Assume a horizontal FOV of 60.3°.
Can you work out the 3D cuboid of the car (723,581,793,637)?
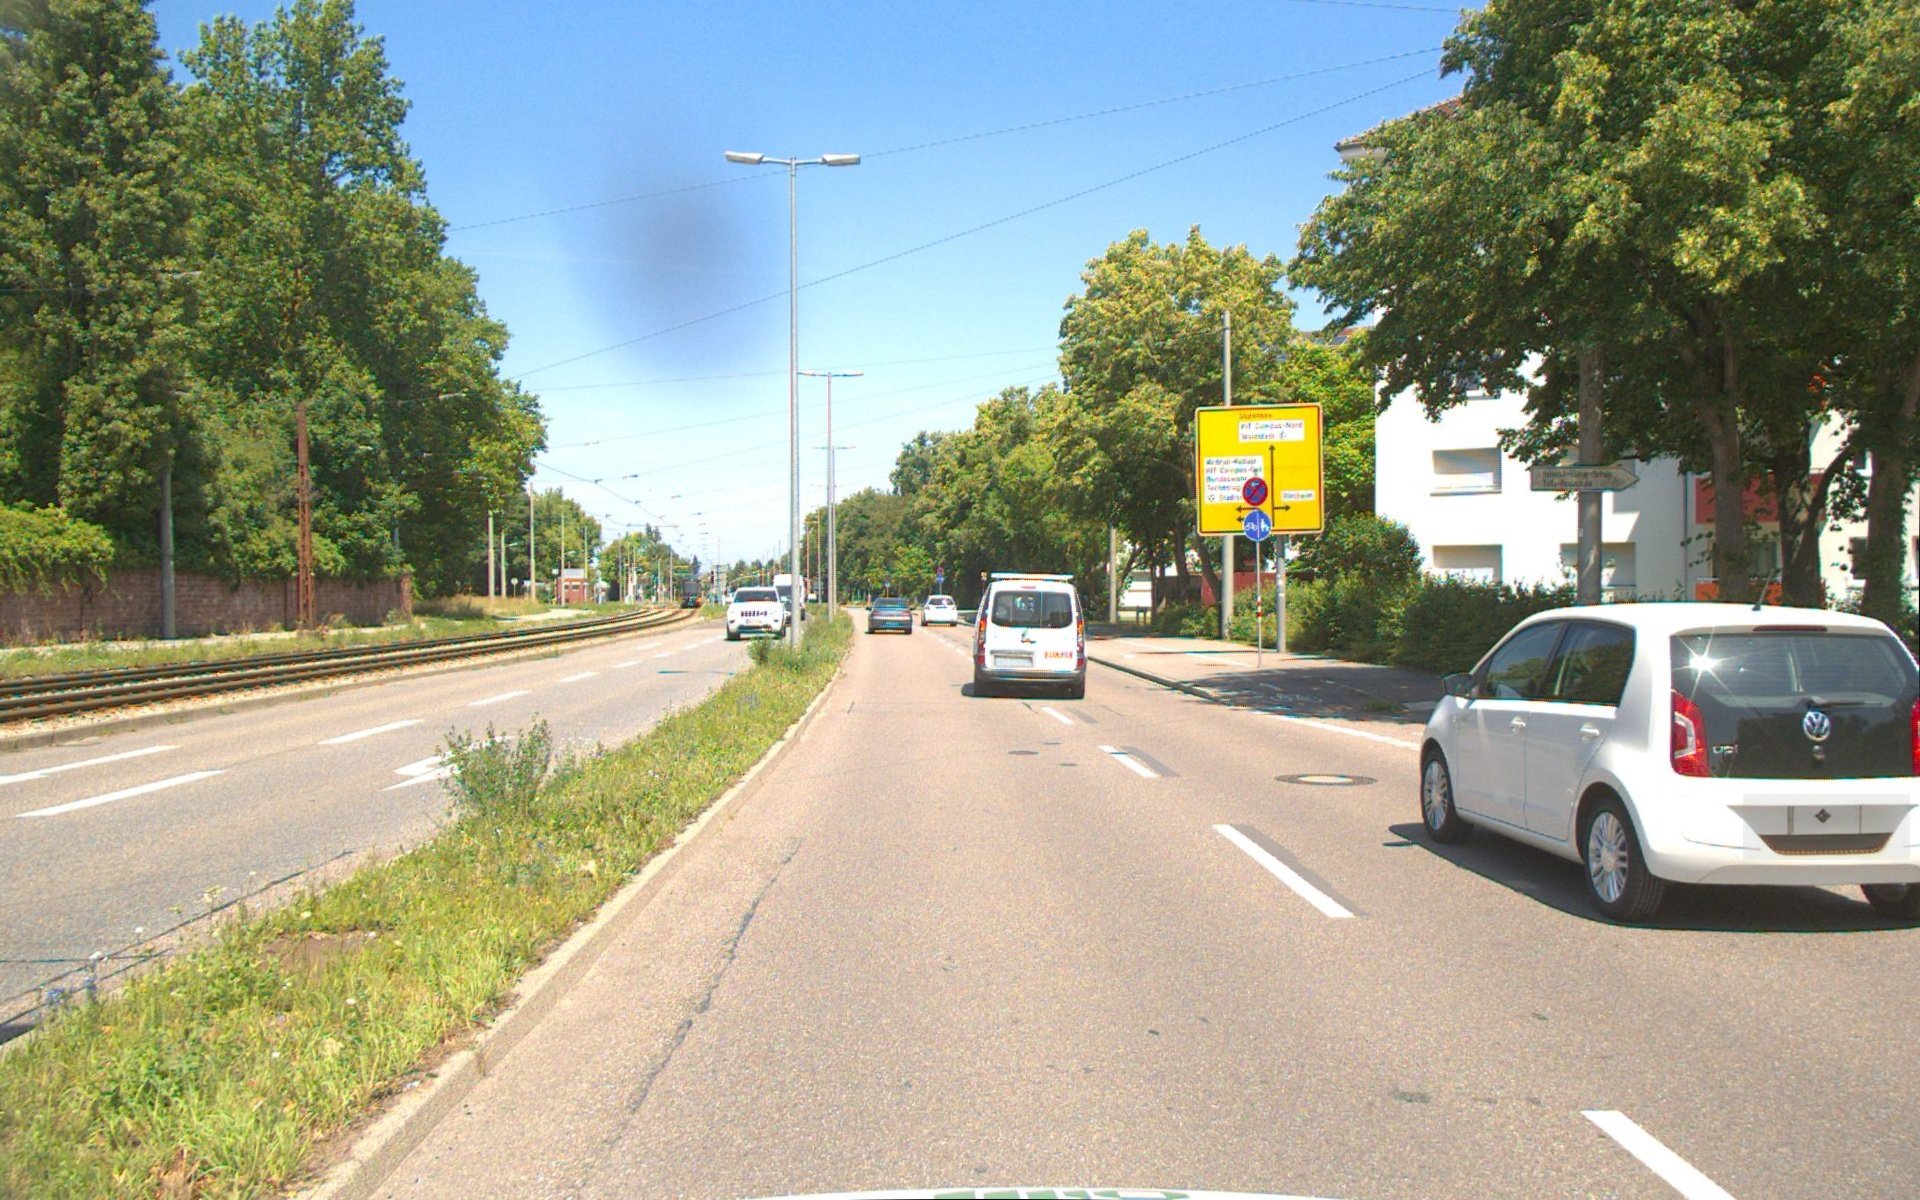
[{"bbox_3d":[-6.844,0.274,56.369,1.953,1.847,3.999,0,0,-1],"label":"car"}]

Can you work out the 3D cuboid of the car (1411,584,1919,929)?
[{"bbox_3d":[3.785,0.679,8.968,1.577,1.472,3.434,1,1,-3],"label":"car"}]

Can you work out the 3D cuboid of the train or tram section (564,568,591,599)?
[{"bbox_3d":[-46.769,-1.946,202.574,1.957,3.585,16.132,1,0,-9],"label":"train or tram section"}]

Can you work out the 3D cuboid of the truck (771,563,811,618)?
[{"bbox_3d":[-10.264,-0.573,100.916,1.953,3.270,5.311,0,0,-1],"label":"truck"}]

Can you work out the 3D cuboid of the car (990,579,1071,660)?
[{"bbox_3d":[1.657,0.449,40.008,1.692,1.819,4.063,1,0,-1],"label":"car"}]

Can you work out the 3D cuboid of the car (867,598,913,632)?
[{"bbox_3d":[-2.719,0.574,65.047,1.658,1.237,3.589,1,0,-1],"label":"car"}]

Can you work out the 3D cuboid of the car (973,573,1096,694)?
[{"bbox_3d":[1.126,0.478,26.833,1.784,1.770,4.396,1,0,0],"label":"car"}]

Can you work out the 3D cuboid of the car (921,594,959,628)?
[{"bbox_3d":[-0.997,0.539,83.175,1.797,1.596,4.000,1,1,0],"label":"car"}]

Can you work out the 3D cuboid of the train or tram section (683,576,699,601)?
[{"bbox_3d":[-35.946,-1.434,220.949,1.957,3.140,19.457,1,0,-9],"label":"train or tram section"}]

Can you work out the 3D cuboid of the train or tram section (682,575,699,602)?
[{"bbox_3d":[-33.147,-1.392,203.401,1.957,3.140,16.132,1,0,-9],"label":"train or tram section"}]
